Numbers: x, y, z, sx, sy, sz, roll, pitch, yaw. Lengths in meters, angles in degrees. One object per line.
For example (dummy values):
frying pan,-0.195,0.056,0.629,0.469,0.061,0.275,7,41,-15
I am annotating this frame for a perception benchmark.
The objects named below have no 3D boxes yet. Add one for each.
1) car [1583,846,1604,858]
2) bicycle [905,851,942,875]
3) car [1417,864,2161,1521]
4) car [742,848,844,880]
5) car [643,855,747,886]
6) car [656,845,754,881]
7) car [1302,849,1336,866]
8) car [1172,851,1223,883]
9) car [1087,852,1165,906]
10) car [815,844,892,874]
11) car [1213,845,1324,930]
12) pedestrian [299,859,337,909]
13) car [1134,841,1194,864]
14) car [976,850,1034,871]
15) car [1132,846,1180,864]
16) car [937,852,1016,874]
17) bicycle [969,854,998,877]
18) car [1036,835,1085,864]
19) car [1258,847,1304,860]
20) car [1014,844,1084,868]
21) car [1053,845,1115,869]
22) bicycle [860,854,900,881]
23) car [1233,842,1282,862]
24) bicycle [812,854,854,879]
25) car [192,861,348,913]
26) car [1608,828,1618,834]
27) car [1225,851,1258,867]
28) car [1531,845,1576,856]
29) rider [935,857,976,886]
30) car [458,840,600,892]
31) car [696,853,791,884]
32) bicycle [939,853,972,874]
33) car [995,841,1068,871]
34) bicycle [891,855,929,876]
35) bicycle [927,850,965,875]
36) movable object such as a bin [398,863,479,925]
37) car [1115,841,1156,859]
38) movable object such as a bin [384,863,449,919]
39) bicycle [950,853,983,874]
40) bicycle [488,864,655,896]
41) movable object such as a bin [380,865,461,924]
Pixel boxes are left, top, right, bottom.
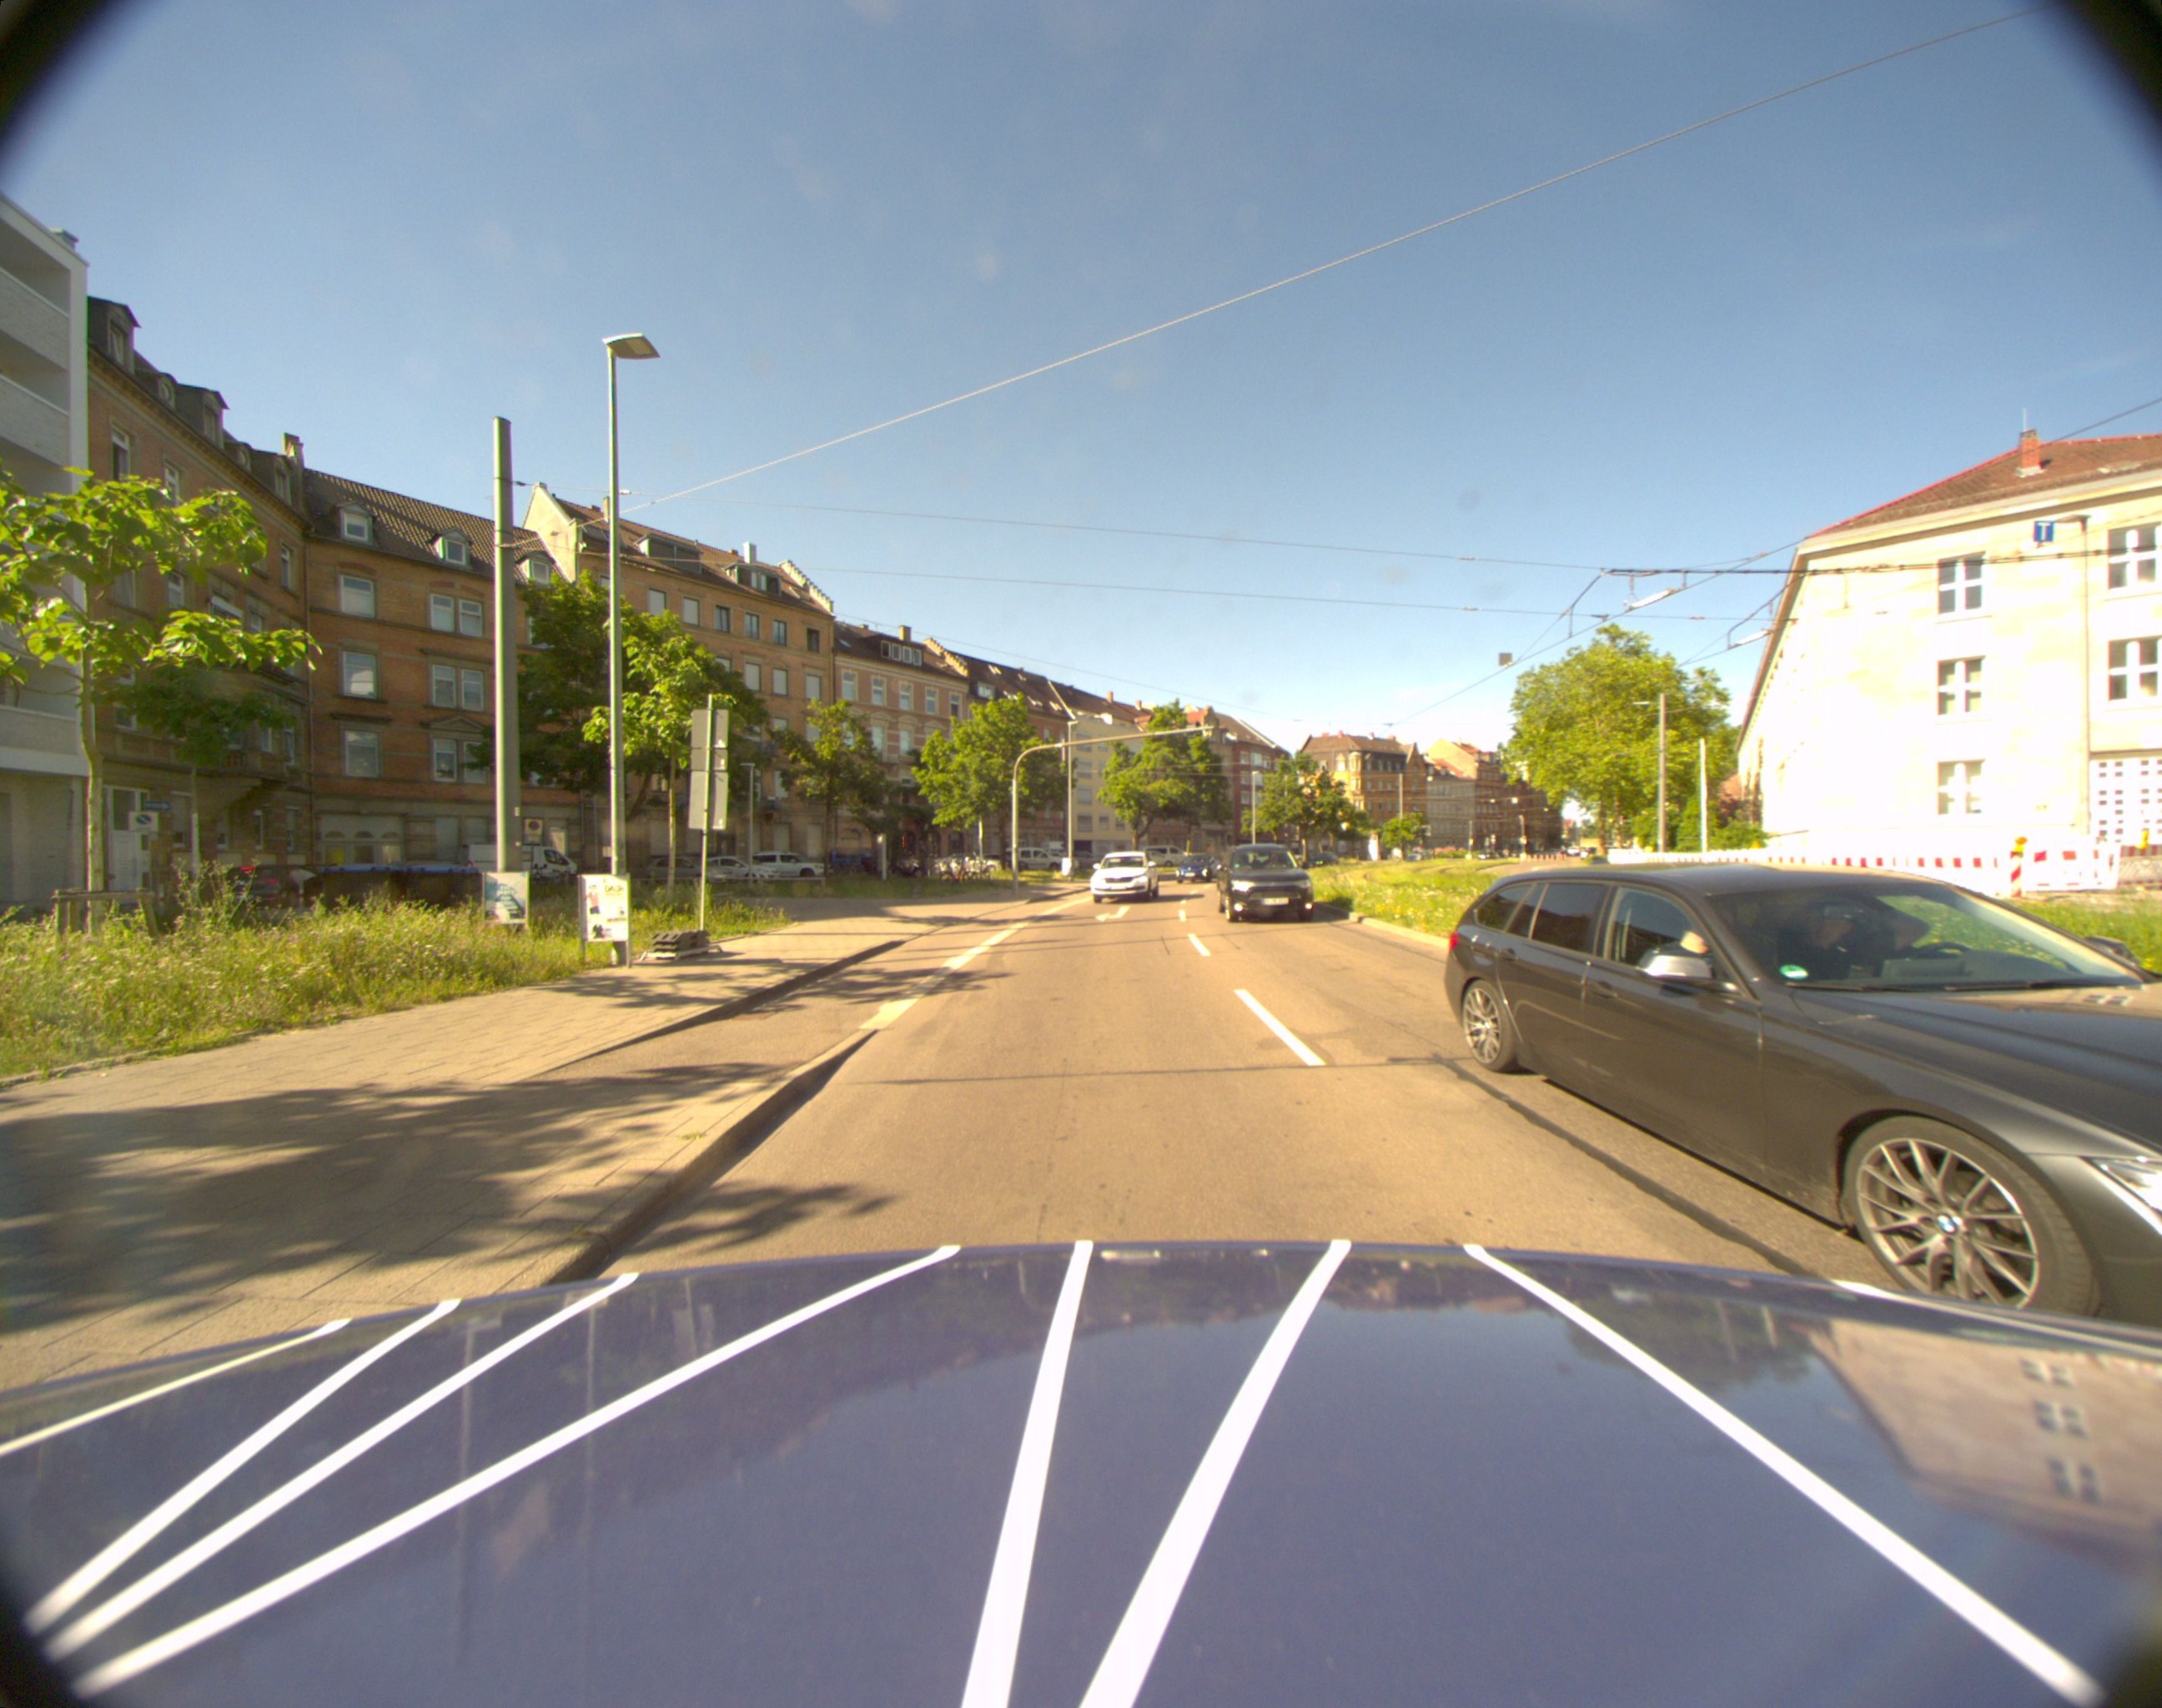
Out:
car,66.286,-0.270,98.183,1.830,1.445,4.179,1,1,40
bicycle,-9.081,0.514,43.717,2.094,1.357,0.789,-1,1,34
car,3.474,0.851,3.634,1.738,1.415,4.467,-4,0,1
car,-14.831,0.490,39.244,4.464,1.556,1.939,-1,0,8
car,-17.606,0.745,34.723,4.048,1.329,1.842,-1,0,17
car,-21.855,0.507,44.339,1.994,1.966,4.734,2,1,39
car,20.469,0.271,65.243,1.886,1.419,4.385,-1,0,31
car,6.444,0.663,41.552,1.996,1.608,4.269,-1,0,19
car,1.620,0.768,25.738,1.799,1.626,4.398,-1,1,14
car,-15.560,0.309,52.082,1.994,1.966,4.734,2,1,39
car,4.164,0.664,17.593,1.840,1.672,4.645,-2,0,6
pedestrian,-24.839,0.970,24.727,0.641,1.568,0.773,0,1,39
car,7.534,-0.155,68.835,5.179,2.002,2.102,1,2,10
car,-5.145,0.457,51.667,3.610,1.372,1.926,-1,0,6
car,6.511,0.074,65.888,4.025,1.470,1.813,1,2,6
car,-6.734,0.563,49.234,4.747,1.372,2.047,-1,0,6
bicycle,-5.616,0.635,43.567,1.598,1.282,0.769,0,1,-11
car,-1.864,-0.389,69.722,1.994,2.570,4.522,2,1,40
car,23.168,-0.059,88.288,4.874,1.427,2.021,1,1,6
car,-2.375,0.135,56.613,4.872,1.639,2.102,1,2,10
car,0.259,0.242,58.868,4.505,1.718,2.001,1,2,10
bicycle,-10.835,0.736,41.008,2.094,1.390,0.789,-1,1,28
car,19.160,-0.206,82.640,4.875,2.063,2.021,1,1,5
bicycle,-14.126,0.721,43.283,2.099,1.357,0.787,-1,1,-2
car,-26.206,0.998,24.777,2.002,1.428,4.099,-2,1,-24
car,142.634,-6.156,203.659,1.793,1.421,4.385,0,0,39
car,20.376,0.583,96.379,1.996,1.464,4.497,-11,-4,42
car,65.113,-0.483,104.868,1.839,1.445,4.947,-1,1,-35
rider,-5.686,0.792,34.472,1.678,1.169,0.502,-5,3,-34
car,-26.906,0.527,37.172,2.349,2.344,5.199,2,1,40
car,-16.354,0.676,36.871,3.838,1.433,1.761,-1,0,8
bicycle,-7.348,0.559,44.439,1.958,1.185,0.843,1,2,39
car,-3.510,0.137,54.138,4.874,2.002,2.101,1,2,5
bicycle,-9.673,0.663,42.925,2.163,1.152,0.824,-1,1,35
bicycle,-7.447,0.466,41.947,2.094,1.357,0.789,-1,1,34
movable object such as a bin,-15.438,0.930,18.304,1.306,1.390,1.069,-1,1,-31
car,5.691,-0.372,78.765,1.994,1.789,4.636,2,1,39
movable object such as a bin,-17.348,0.947,19.871,1.092,1.390,1.029,-1,1,-31
bicycle,-6.818,0.543,45.200,1.945,1.174,0.902,1,2,38
bicycle,-21.479,1.038,32.246,2.676,1.120,5.232,-1,0,34
movable object such as a bin,-16.455,0.983,18.986,1.323,1.390,1.108,-1,1,-31
